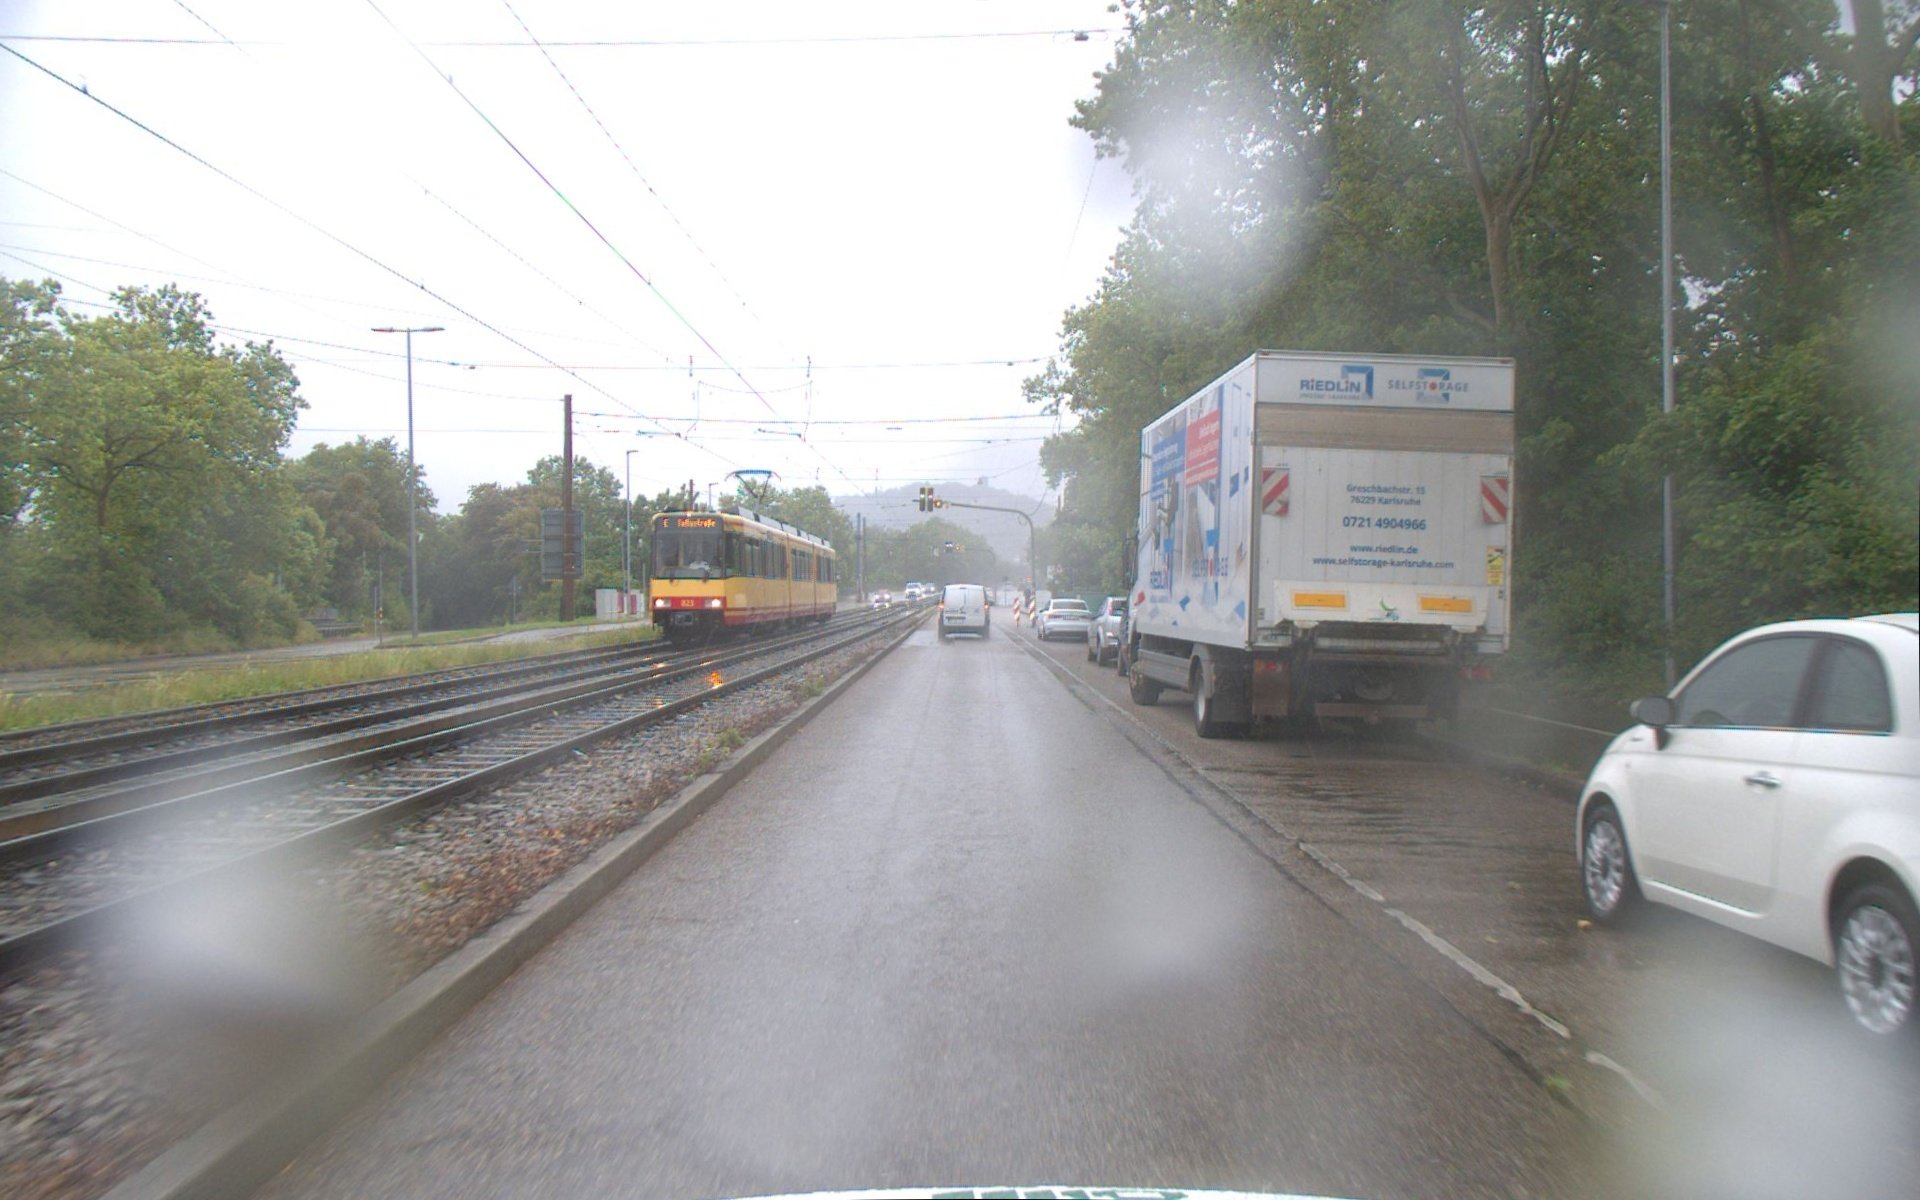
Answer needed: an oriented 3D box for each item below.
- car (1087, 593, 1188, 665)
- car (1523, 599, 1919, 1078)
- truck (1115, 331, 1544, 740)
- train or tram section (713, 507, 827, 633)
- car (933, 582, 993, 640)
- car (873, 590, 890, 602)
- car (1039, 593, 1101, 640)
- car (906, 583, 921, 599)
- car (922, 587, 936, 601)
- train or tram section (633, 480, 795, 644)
[{"bbox_3d":[3.940,0.631,37.313,1.775,1.485,4.345,1,0,0],"label":"car"},{"bbox_3d":[3.955,0.779,7.101,1.678,1.556,3.999,0,0,-1],"label":"car"},{"bbox_3d":[3.897,-0.549,20.252,2.720,3.769,9.847,0,-1,-2],"label":"truck"},{"bbox_3d":[-6.921,-0.989,62.245,2.749,4.222,13.018,0,0,0],"label":"train or tram section"},{"bbox_3d":[0.117,0.362,56.348,1.952,1.881,4.000,0,0,0],"label":"car"},{"bbox_3d":[-9.191,-0.466,193.179,1.782,1.422,4.000,-1,0,0],"label":"car"},{"bbox_3d":[3.710,0.540,56.592,1.782,1.512,4.480,2,0,0],"label":"car"},{"bbox_3d":[-6.449,-1.255,229.944,1.952,2.049,4.000,0,-1,1],"label":"car"},{"bbox_3d":[-4.818,-0.935,255.392,1.952,1.982,4.000,0,-1,1],"label":"car"},{"bbox_3d":[-7.007,-0.992,49.209,2.749,4.222,13.019,0,0,0],"label":"train or tram section"}]
